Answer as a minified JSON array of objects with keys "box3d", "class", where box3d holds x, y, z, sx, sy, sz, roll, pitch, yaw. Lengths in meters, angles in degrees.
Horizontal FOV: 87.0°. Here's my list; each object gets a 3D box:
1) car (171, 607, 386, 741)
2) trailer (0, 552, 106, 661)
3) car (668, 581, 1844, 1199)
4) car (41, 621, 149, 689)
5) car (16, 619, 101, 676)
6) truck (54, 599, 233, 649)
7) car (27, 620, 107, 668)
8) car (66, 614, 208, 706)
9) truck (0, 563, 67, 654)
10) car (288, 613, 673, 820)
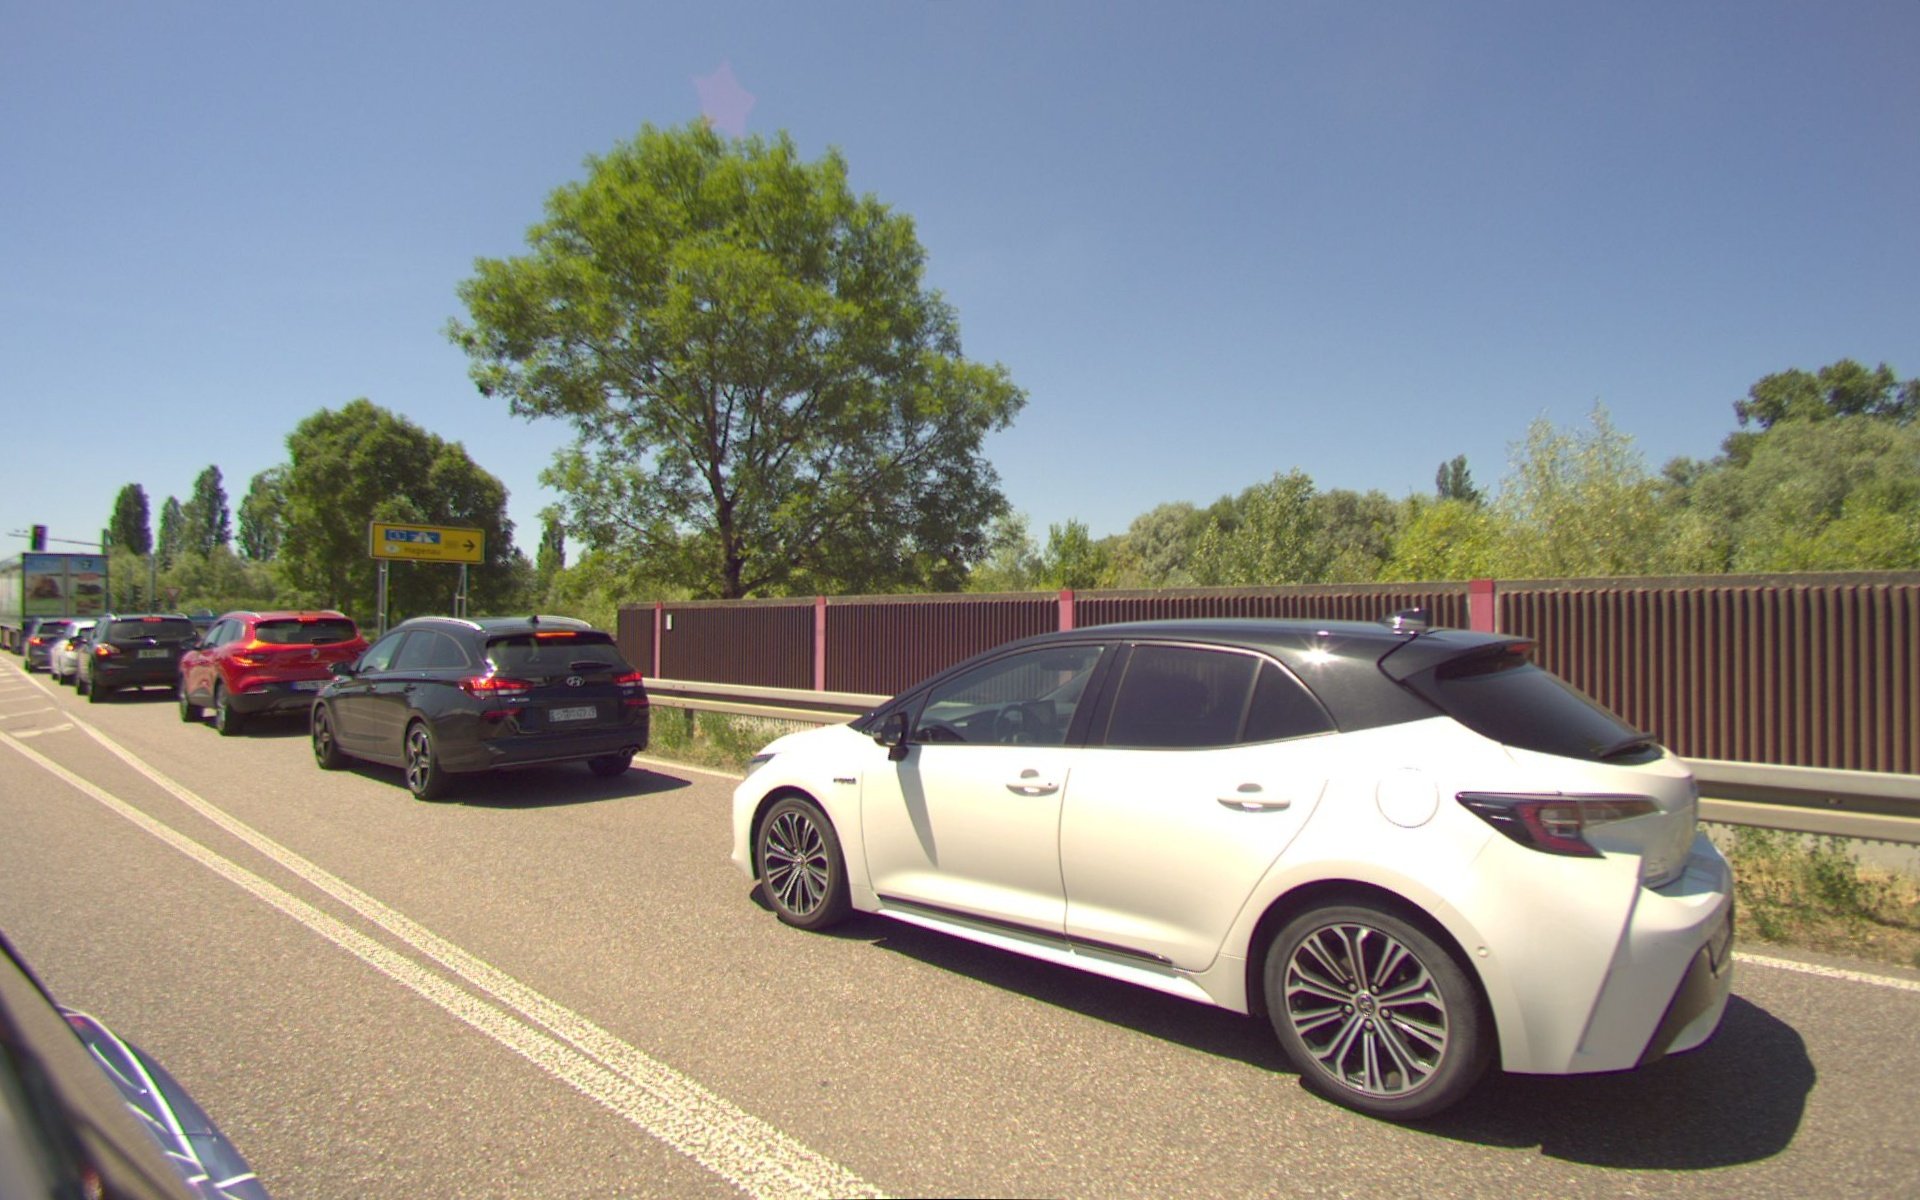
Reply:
[{"box3d":[-9.856,0.957,14.495,4.280,1.644,1.735,-2,-2,44],"class":"car"},{"box3d":[-39.696,0.336,43.638,14.123,4.075,2.660,-1,-1,43],"class":"trailer"},{"box3d":[0.734,0.729,4.375,4.615,1.471,1.667,-1,-1,42],"class":"car"},{"box3d":[-20.997,1.268,24.512,1.634,1.490,4.632,1,-2,-45],"class":"car"},{"box3d":[-26.311,1.355,29.482,1.605,1.549,4.387,2,-3,-44],"class":"car"},{"box3d":[-55.373,1.708,68.961,2.689,3.220,9.068,-1,-2,34],"class":"truck"},{"box3d":[-30.849,1.482,34.931,4.155,1.574,1.693,-1,-2,43],"class":"car"},{"box3d":[-16.260,1.111,19.902,4.536,1.601,1.697,-2,-2,45],"class":"car"},{"box3d":[-44.703,0.419,48.228,5.825,4.075,2.660,-1,-1,43],"class":"truck"},{"box3d":[-4.672,0.882,9.473,4.616,1.471,1.667,-1,-1,43],"class":"car"}]
